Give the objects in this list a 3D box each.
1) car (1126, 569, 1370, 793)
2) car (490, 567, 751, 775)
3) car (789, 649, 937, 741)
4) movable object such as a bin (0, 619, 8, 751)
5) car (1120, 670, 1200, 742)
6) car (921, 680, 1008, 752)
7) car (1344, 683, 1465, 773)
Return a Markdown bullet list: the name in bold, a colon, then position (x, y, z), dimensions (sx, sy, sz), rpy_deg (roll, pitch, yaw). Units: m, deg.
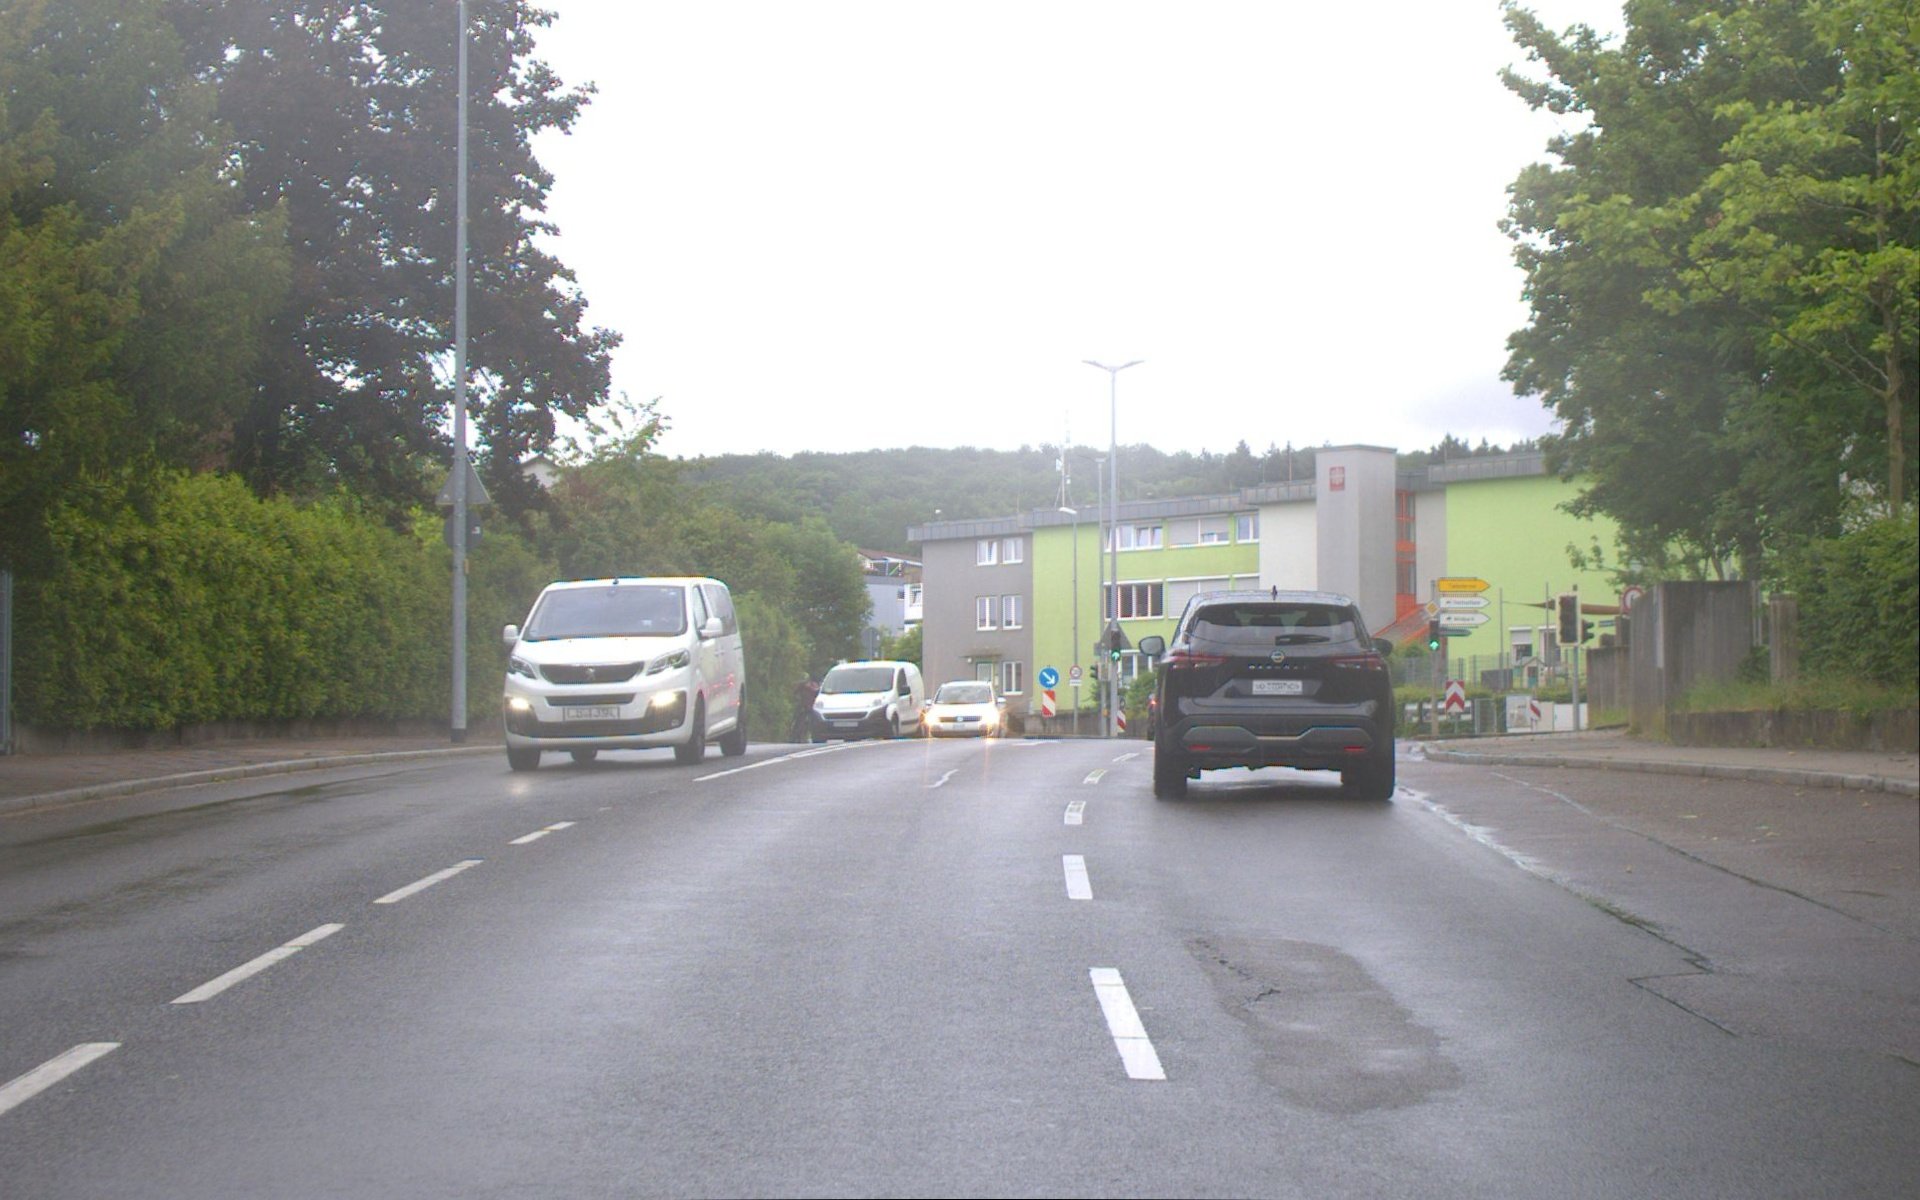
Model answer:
- **car**: position (2.349, 0.574, 27.434), dimensions (1.790, 1.598, 4.252), rpy_deg (0, 1, 6)
- **car**: position (-3.383, 0.676, 35.202), dimensions (1.863, 1.910, 5.029), rpy_deg (-2, 0, 3)
- **car**: position (-1.920, 1.938, 69.241), dimensions (1.702, 1.702, 3.975), rpy_deg (3, -2, 17)
- **movable object such as a bin**: position (-9.896, 0.847, 34.241), dimensions (0.547, 1.321, 0.806), rpy_deg (1, 0, 2)
- **car**: position (4.462, 2.359, 77.044), dimensions (1.682, 1.501, 3.773), rpy_deg (2, -1, 2)
- **car**: position (0.127, 2.743, 81.262), dimensions (1.635, 1.574, 4.056), rpy_deg (-3, -2, 5)
- **car**: position (8.024, 2.266, 61.814), dimensions (1.994, 1.437, 3.998), rpy_deg (1, 0, 9)
